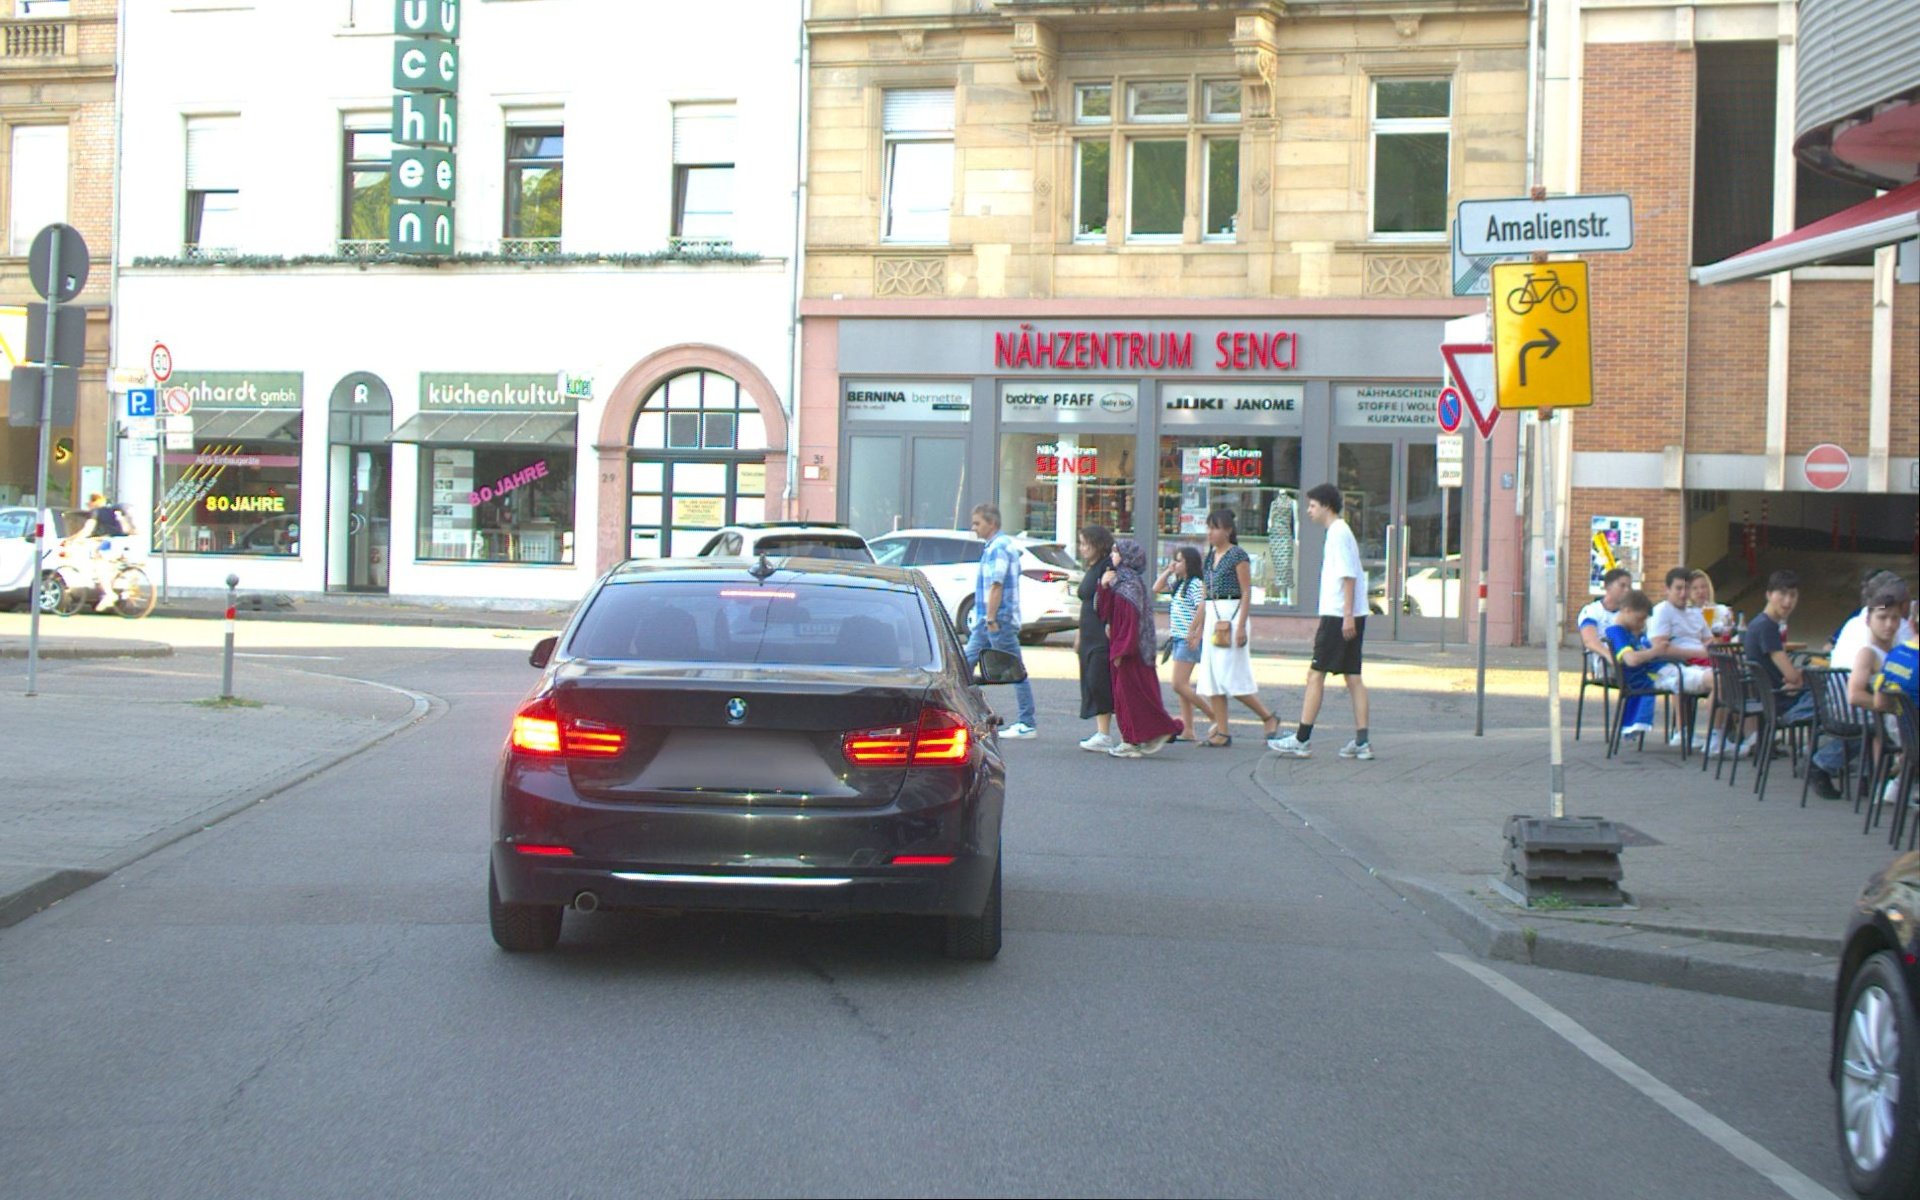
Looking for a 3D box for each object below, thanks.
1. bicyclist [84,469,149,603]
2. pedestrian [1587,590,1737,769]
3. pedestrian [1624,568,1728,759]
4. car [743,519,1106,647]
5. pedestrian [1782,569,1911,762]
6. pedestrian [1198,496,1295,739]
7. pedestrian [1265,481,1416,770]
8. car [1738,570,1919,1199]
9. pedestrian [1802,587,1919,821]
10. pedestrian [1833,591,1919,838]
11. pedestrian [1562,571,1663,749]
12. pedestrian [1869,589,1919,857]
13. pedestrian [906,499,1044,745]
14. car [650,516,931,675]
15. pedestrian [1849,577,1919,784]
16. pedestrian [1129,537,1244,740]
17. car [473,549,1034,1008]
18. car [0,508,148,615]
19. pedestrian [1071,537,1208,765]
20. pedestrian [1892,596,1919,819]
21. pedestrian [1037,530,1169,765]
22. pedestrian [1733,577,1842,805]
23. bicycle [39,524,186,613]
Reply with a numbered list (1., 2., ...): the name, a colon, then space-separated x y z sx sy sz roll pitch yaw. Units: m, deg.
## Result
1. bicyclist: -11.166 -0.848 45.517 0.618 1.750 0.525 2 1 10
2. pedestrian: 4.656 0.521 22.830 0.890 1.146 0.619 1 1 5
3. pedestrian: 4.931 0.428 23.698 0.617 1.279 0.659 1 1 6
4. car: -0.460 -0.236 44.965 4.356 1.557 1.866 1 0 21
5. pedestrian: 6.052 0.432 23.452 0.618 1.274 0.699 2 2 35
6. pedestrian: 2.077 0.118 24.995 0.667 1.740 0.606 1 1 4
7. pedestrian: 2.537 0.162 22.913 0.700 1.871 0.677 3 1 33
8. car: 3.082 0.785 6.840 1.765 1.497 4.791 4 1 -2
9. pedestrian: 5.170 0.574 19.408 0.626 1.272 0.511 -3 1 -39
10. pedestrian: 4.757 0.590 17.817 0.343 1.252 0.359 -1 1 30
11. pedestrian: 4.724 0.428 24.929 0.617 1.250 0.735 1 1 4
12. pedestrian: 4.887 0.574 16.538 0.859 1.252 0.491 -2 1 -2
13. pedestrian: 0.115 0.149 25.064 0.895 1.719 0.607 3 3 4
14. car: -1.769 -0.081 34.502 1.877 1.468 4.001 0 1 -17
15. pedestrian: 5.891 0.502 21.701 0.490 1.272 0.521 1 1 11
16. pedestrian: 1.676 0.277 25.543 0.815 1.469 0.606 1 1 2
17. car: -0.733 0.543 13.505 1.765 1.370 4.791 2 1 -2
18. car: -14.141 -0.580 50.467 3.991 1.505 1.798 1 0 21
19. pedestrian: 1.226 0.344 23.582 0.735 1.508 0.650 3 1 -11
20. pedestrian: 5.423 0.576 18.609 0.417 1.197 0.569 -3 1 -43
21. pedestrian: 1.001 0.325 24.217 0.724 1.603 0.650 3 1 -11
22. pedestrian: 4.827 0.523 20.069 0.491 1.298 0.418 -2 1 -2
23. bicycle: -11.224 -0.420 45.535 1.795 1.104 0.538 2 1 10
